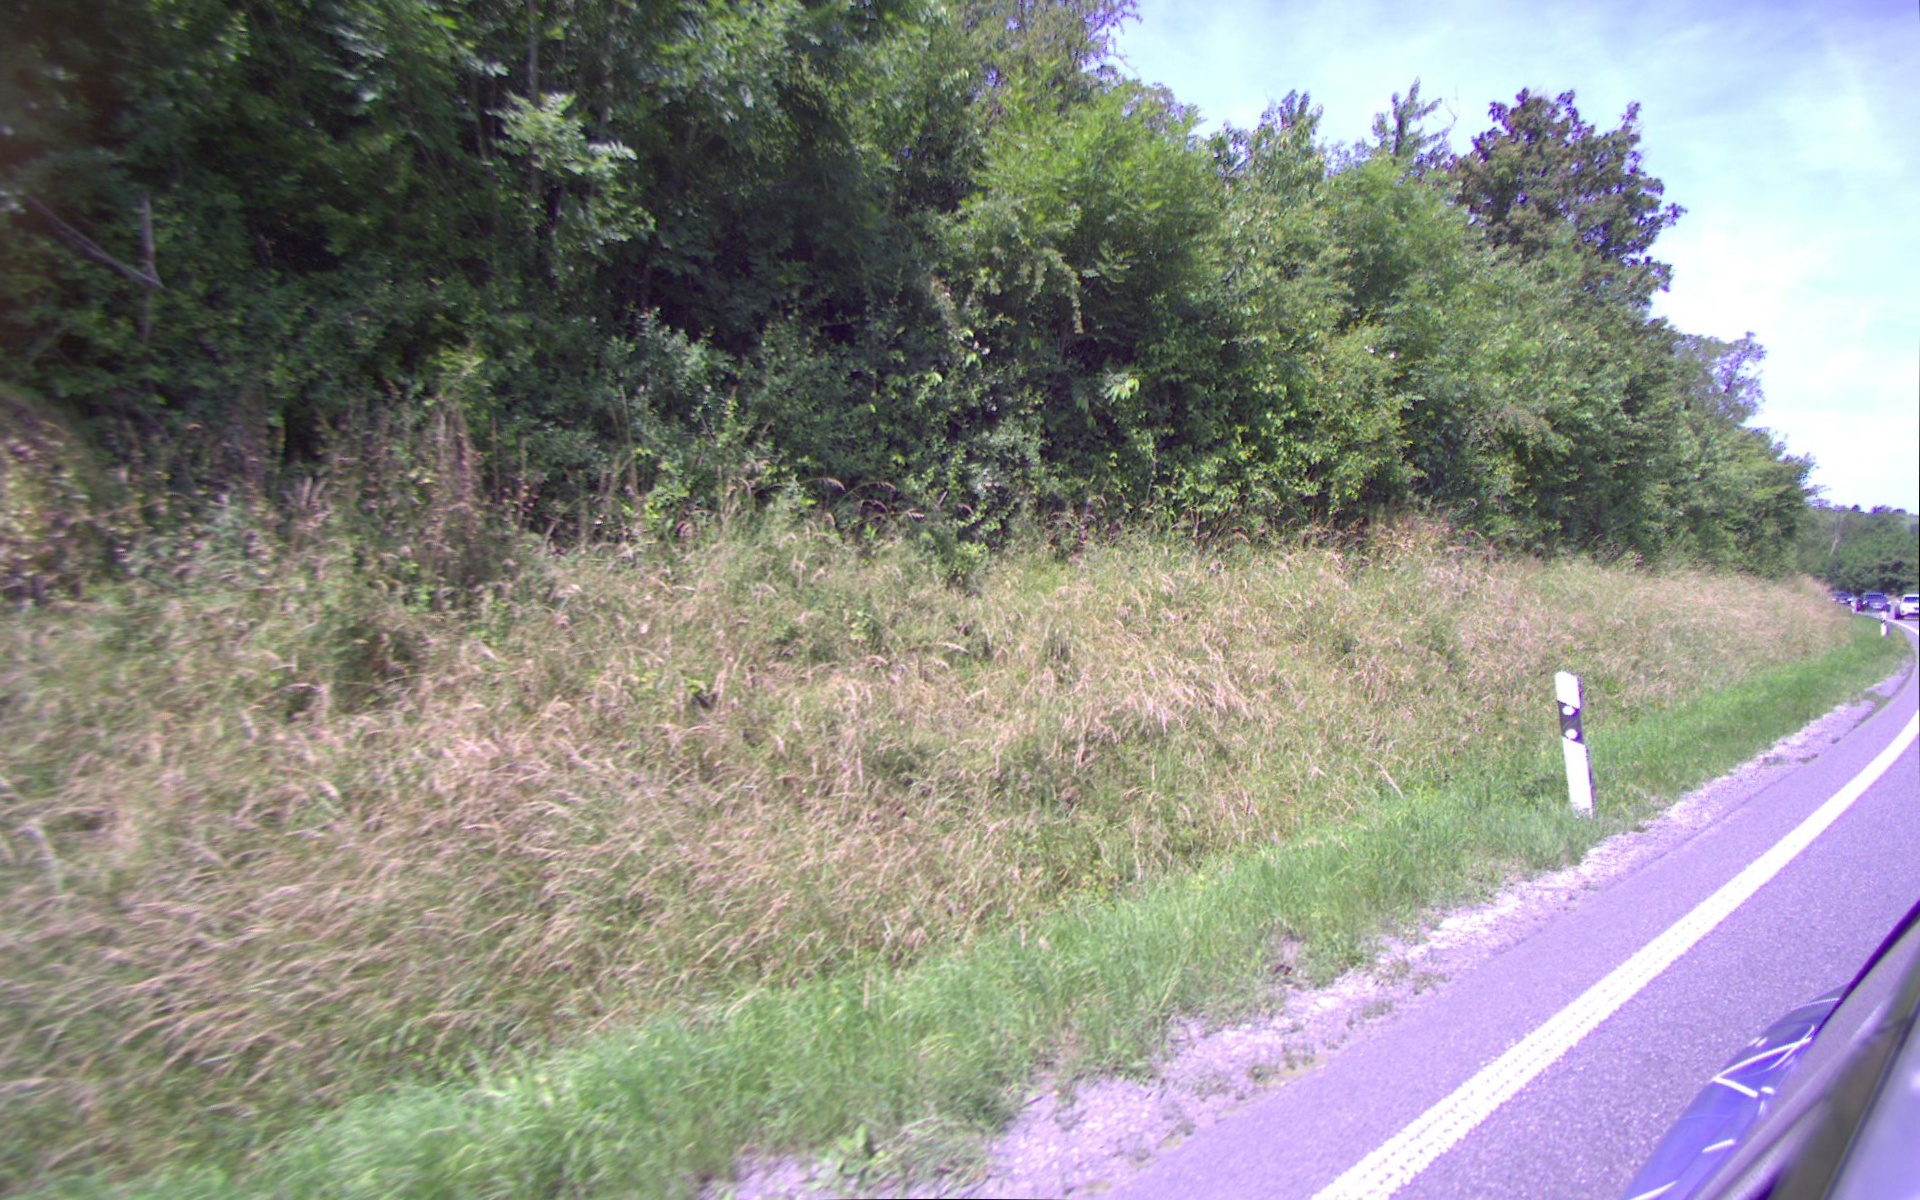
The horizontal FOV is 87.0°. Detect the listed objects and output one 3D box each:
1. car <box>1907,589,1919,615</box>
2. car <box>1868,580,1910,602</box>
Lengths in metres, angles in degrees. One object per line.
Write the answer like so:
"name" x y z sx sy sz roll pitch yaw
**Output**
"car" 57.712 0.119 60.203 1.860 1.507 3.941 0 1 41
"car" 73.581 -0.748 80.195 1.816 1.537 3.949 7 5 36
